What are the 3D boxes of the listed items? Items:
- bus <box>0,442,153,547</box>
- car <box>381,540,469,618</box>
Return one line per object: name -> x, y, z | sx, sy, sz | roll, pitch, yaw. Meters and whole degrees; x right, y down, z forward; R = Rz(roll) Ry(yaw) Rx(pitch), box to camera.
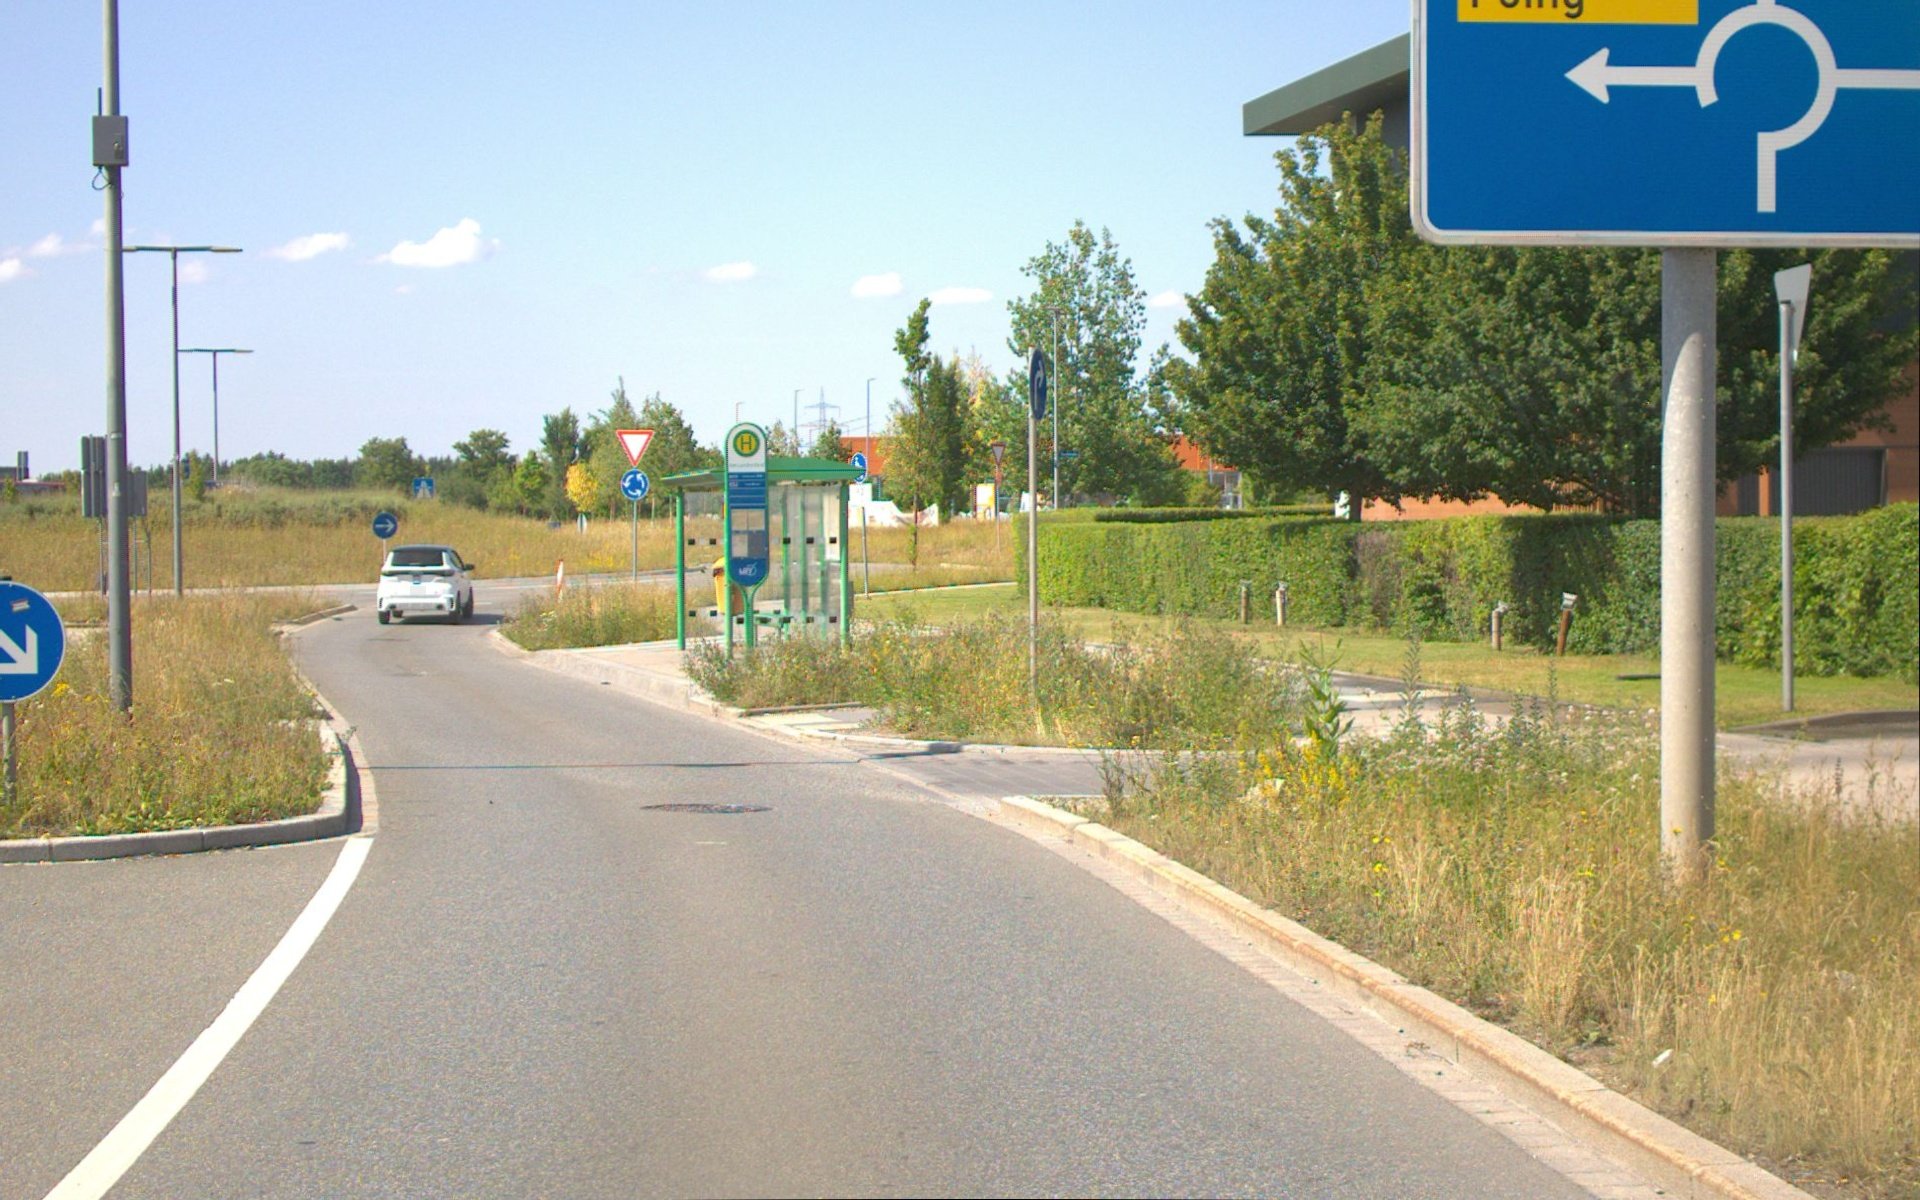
bus -> -29.872, -3.317, 108.227 | 2.789, 3.068, 12.194 | -1, 3, 17
car -> -10.326, -0.425, 66.229 | 1.616, 1.429, 3.793 | -1, 1, -9
